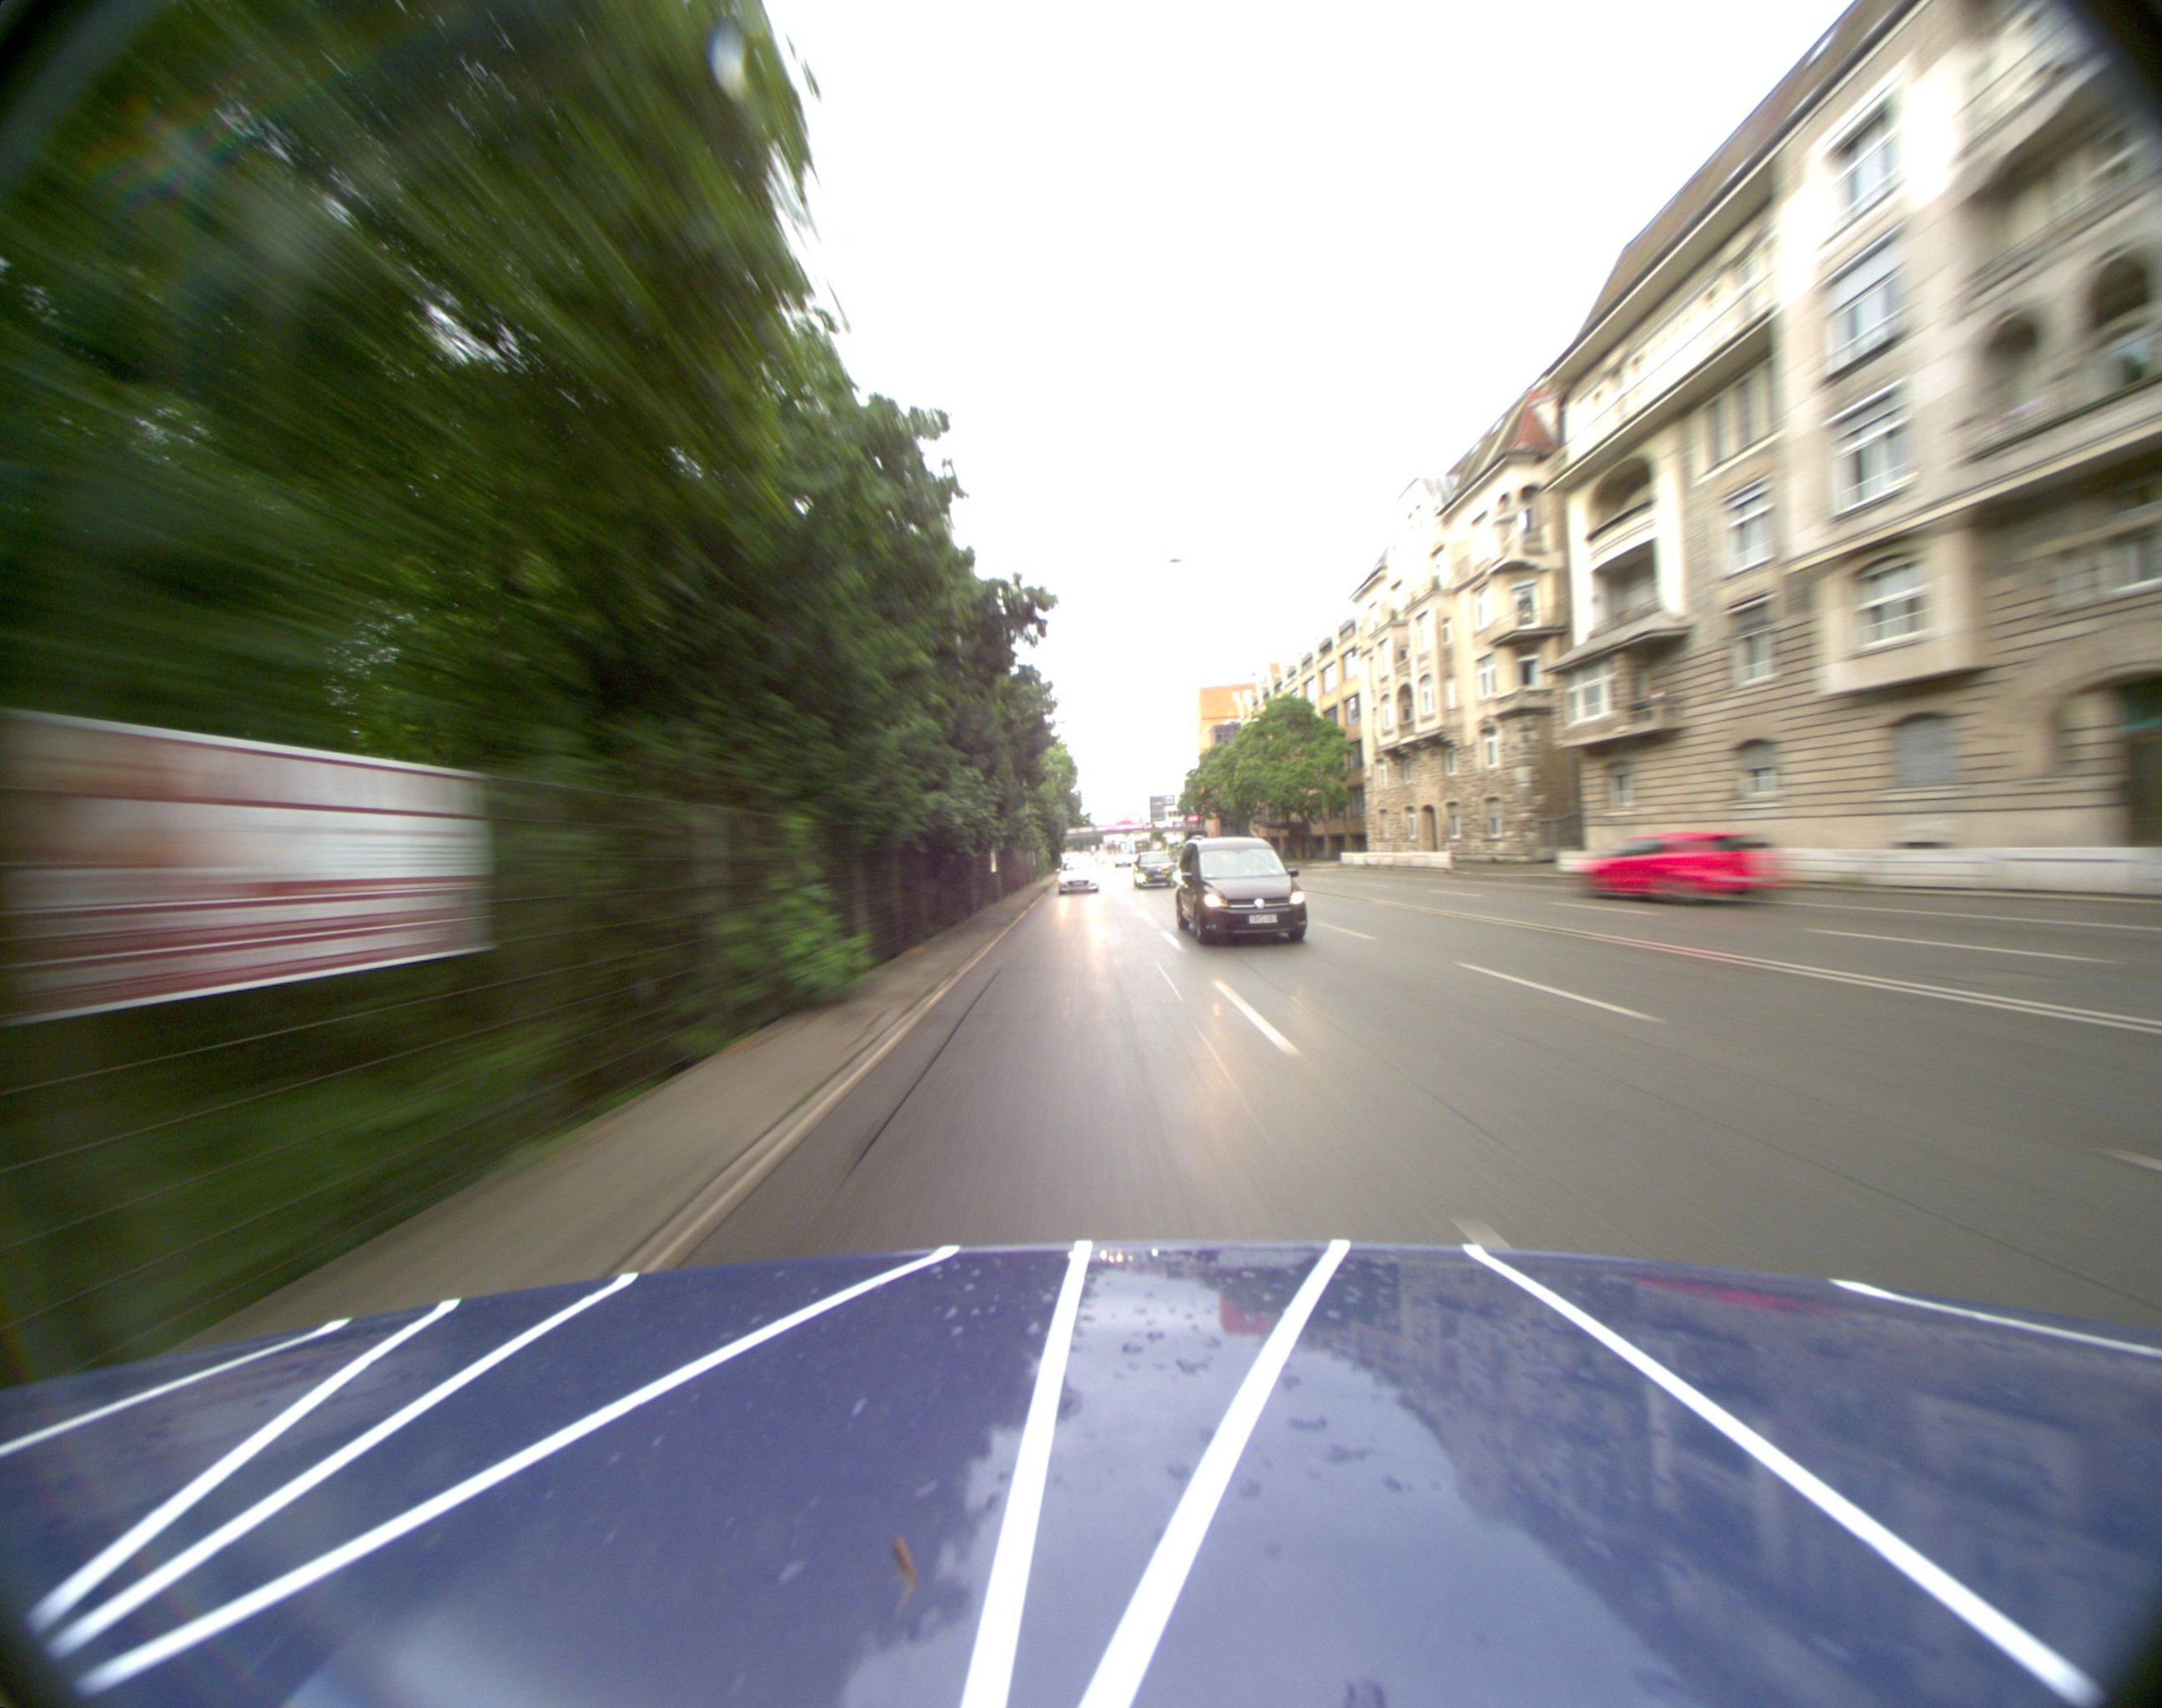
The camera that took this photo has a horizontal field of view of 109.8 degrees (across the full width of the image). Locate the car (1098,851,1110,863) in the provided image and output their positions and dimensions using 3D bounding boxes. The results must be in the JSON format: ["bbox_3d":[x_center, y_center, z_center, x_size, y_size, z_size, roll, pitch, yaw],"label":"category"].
[{"bbox_3d":[4.058,0.500,135.456,1.878,1.762,3.999,-5,1,0],"label":"car"}]

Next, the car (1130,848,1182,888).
[{"bbox_3d":[3.324,0.584,34.382,1.731,1.604,3.999,-4,1,-1],"label":"car"}]

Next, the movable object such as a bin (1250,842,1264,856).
[{"bbox_3d":[20.347,-0.560,87.788,1.071,1.428,1.372,-5,0,-5],"label":"movable object such as a bin"}]

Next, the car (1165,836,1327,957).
[{"bbox_3d":[2.753,0.659,13.642,1.842,1.780,3.999,-2,0,-2],"label":"car"}]

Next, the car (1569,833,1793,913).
[{"bbox_3d":[12.386,0.338,16.058,1.584,1.406,3.961,-3,0,0],"label":"car"}]

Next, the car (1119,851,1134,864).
[{"bbox_3d":[5.542,0.405,93.108,1.731,1.502,3.732,-4,1,4],"label":"car"}]

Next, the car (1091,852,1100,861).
[{"bbox_3d":[3.541,0.579,180.630,1.878,1.762,3.999,-5,1,0],"label":"car"}]

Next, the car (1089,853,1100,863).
[{"bbox_3d":[2.682,0.715,148.097,1.878,1.762,3.999,-5,1,0],"label":"car"}]

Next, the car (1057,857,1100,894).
[{"bbox_3d":[-0.134,0.910,34.284,1.731,1.431,3.999,-4,1,-1],"label":"car"}]

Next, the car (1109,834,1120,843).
[{"bbox_3d":[6.729,-3.142,151.826,1.824,1.602,3.999,-5,1,0],"label":"car"}]
